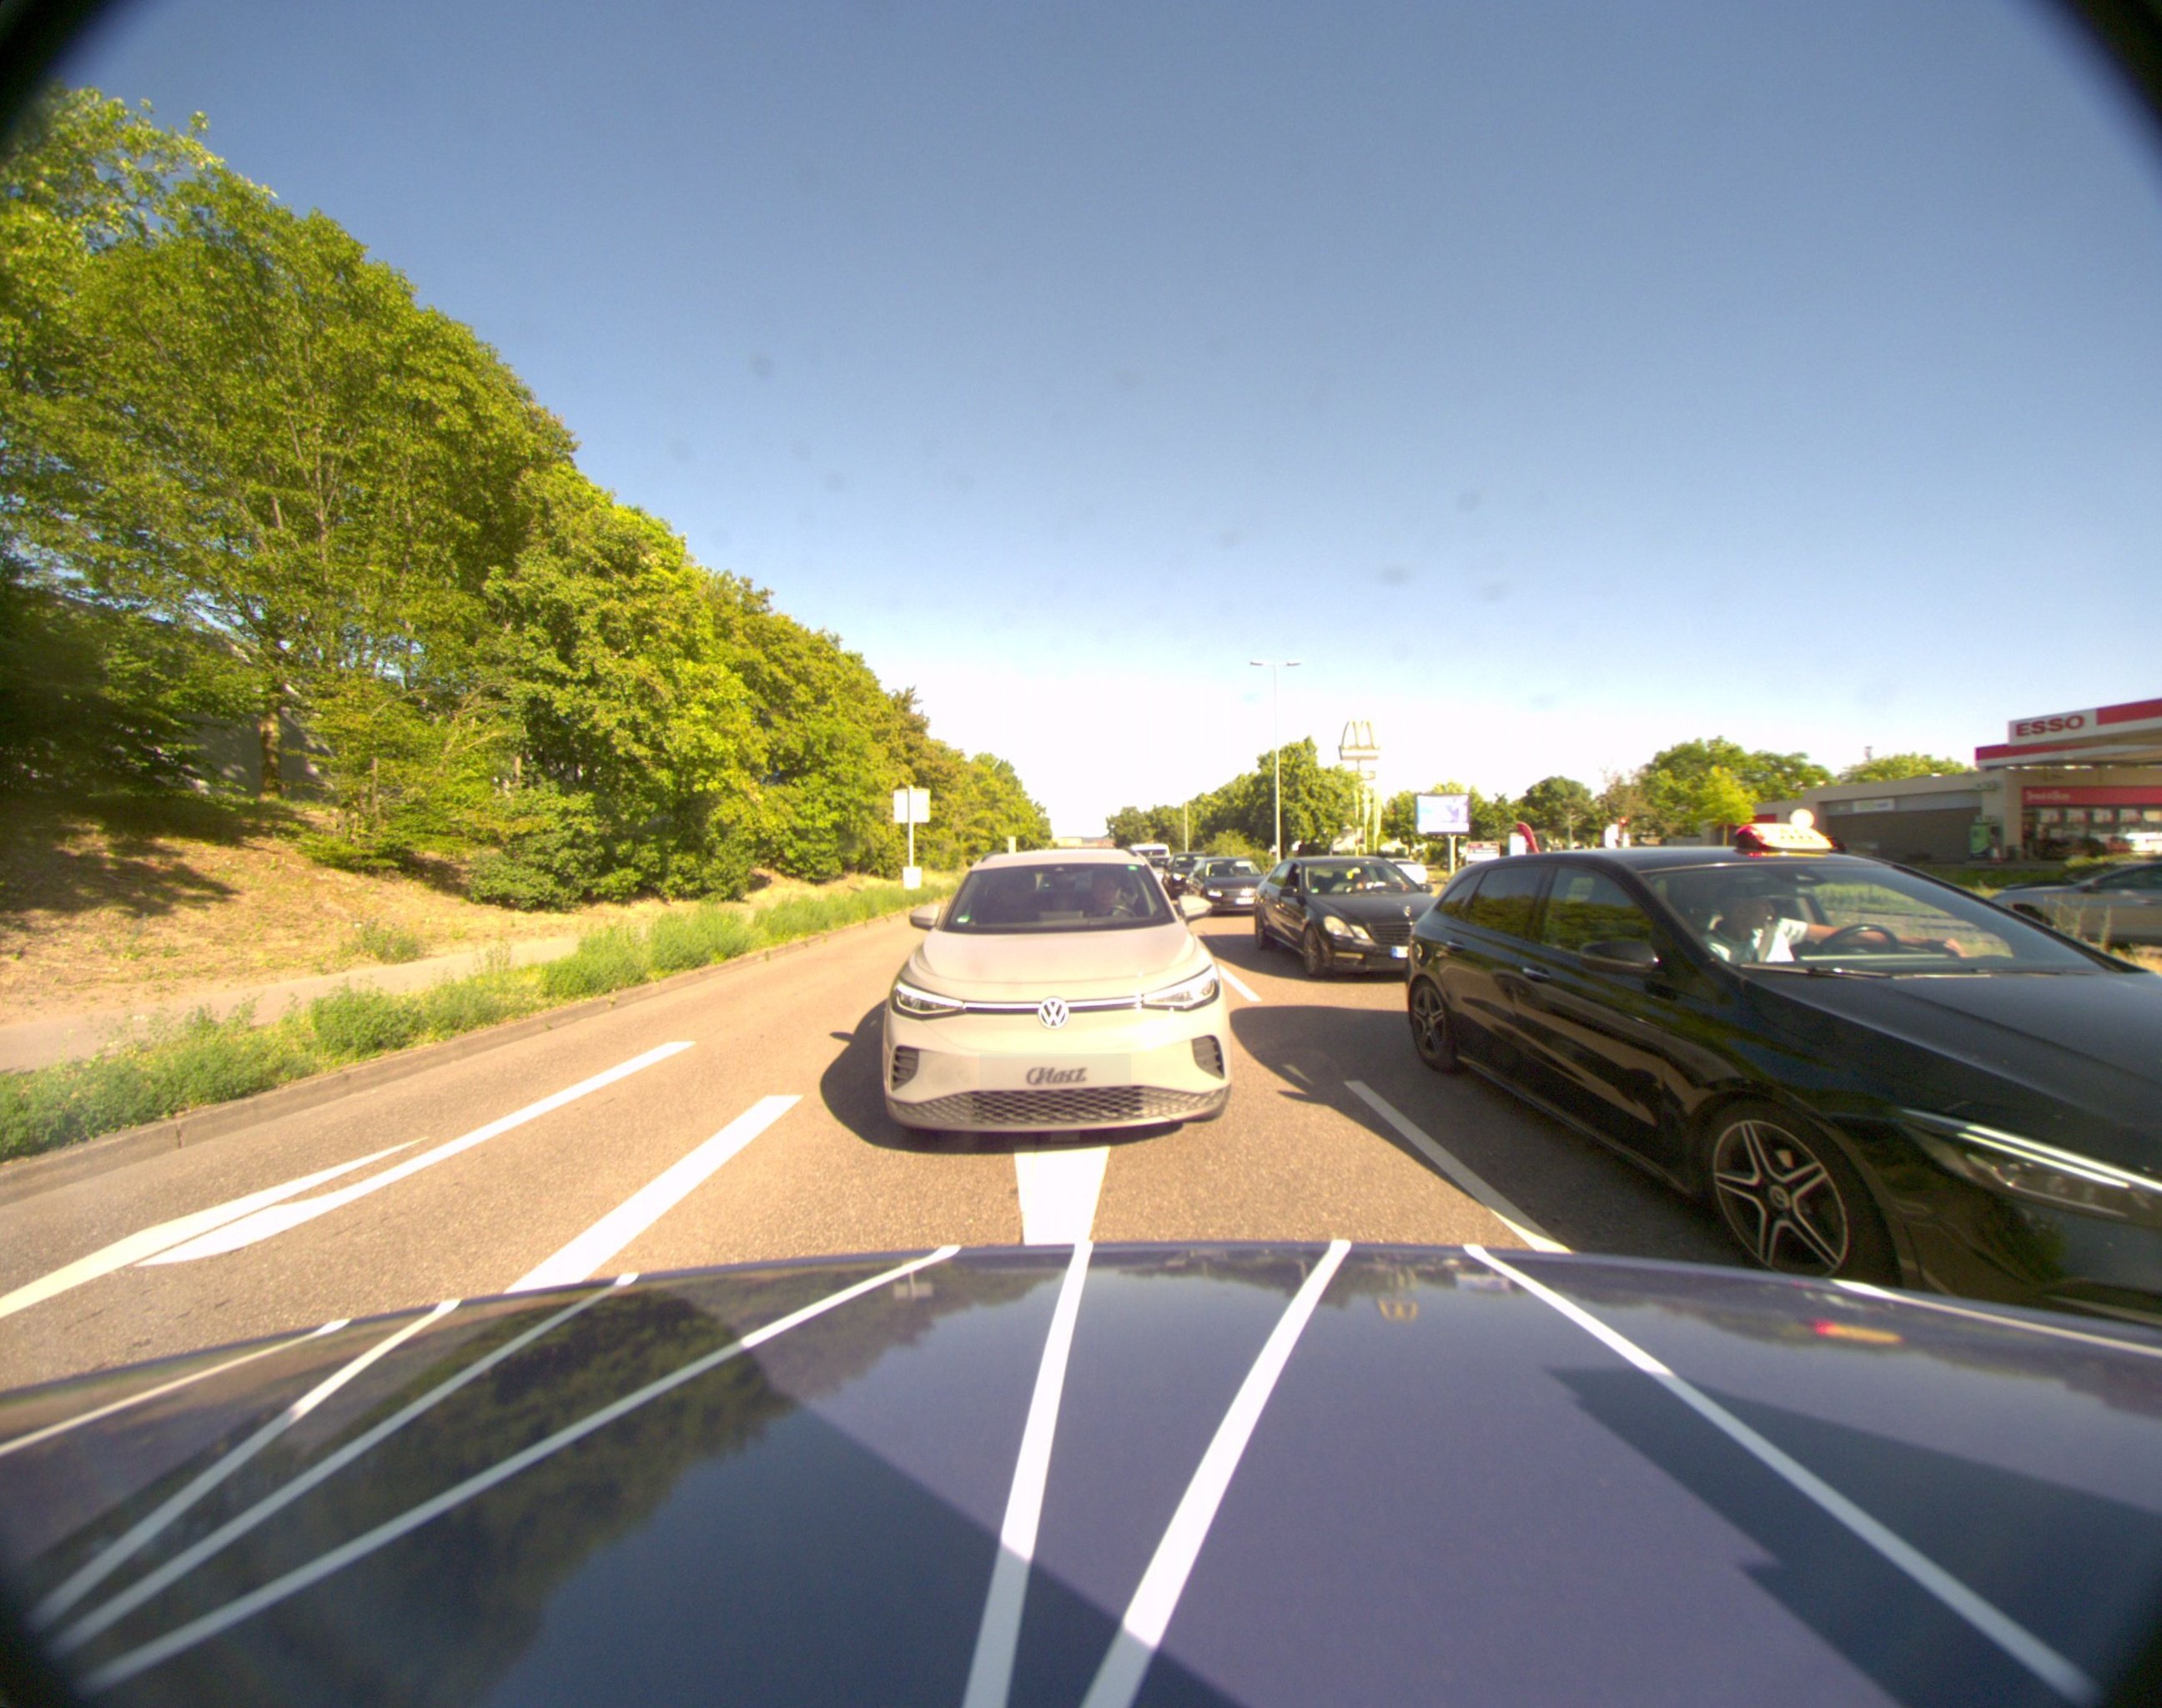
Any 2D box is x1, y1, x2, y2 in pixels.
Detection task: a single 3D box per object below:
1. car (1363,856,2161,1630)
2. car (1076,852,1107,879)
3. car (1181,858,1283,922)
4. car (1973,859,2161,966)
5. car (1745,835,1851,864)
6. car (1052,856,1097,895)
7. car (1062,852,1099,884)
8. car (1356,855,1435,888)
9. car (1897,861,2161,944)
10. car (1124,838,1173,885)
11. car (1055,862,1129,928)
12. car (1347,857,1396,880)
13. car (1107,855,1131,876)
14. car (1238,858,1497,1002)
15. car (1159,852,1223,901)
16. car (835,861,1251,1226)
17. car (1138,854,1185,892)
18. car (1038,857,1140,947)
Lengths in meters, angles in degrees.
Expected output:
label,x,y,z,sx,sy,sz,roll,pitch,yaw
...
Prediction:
label,x,y,z,sx,sy,sz,roll,pitch,yaw
car,3.092,0.817,3.668,1.763,1.482,4.402,-2,1,0
car,0.601,0.688,47.037,1.763,1.482,4.402,-2,1,0
car,3.872,0.859,20.231,1.797,1.419,4.287,-2,0,0
car,15.444,0.823,10.160,1.733,1.401,4.303,1,1,-5
car,37.341,-0.236,39.716,1.682,1.401,3.978,1,1,0
car,-0.258,0.879,33.049,1.763,1.482,4.402,-2,1,0
car,-0.045,0.710,39.870,1.763,1.482,4.402,-2,1,0
car,15.908,0.838,38.731,1.764,1.482,4.878,2,1,-3
car,19.613,0.892,15.431,1.763,1.401,3.978,1,1,0
car,3.651,0.383,42.109,2.019,2.349,6.523,-2,0,0
car,0.265,1.037,20.942,1.763,1.482,4.402,-2,1,0
car,19.612,0.982,51.428,1.763,1.401,3.978,1,1,0
car,3.169,0.958,64.270,1.763,1.607,4.402,-2,1,0
car,3.590,0.850,10.515,1.868,1.430,4.402,-2,1,0
car,3.904,0.755,27.425,1.674,1.607,3.879,-2,0,0
car,-0.180,0.898,5.717,1.862,1.573,4.403,-2,0,0
car,3.572,0.789,34.180,1.635,1.547,3.777,-2,0,0
car,0.135,0.870,15.774,1.763,1.482,4.402,-2,1,0
